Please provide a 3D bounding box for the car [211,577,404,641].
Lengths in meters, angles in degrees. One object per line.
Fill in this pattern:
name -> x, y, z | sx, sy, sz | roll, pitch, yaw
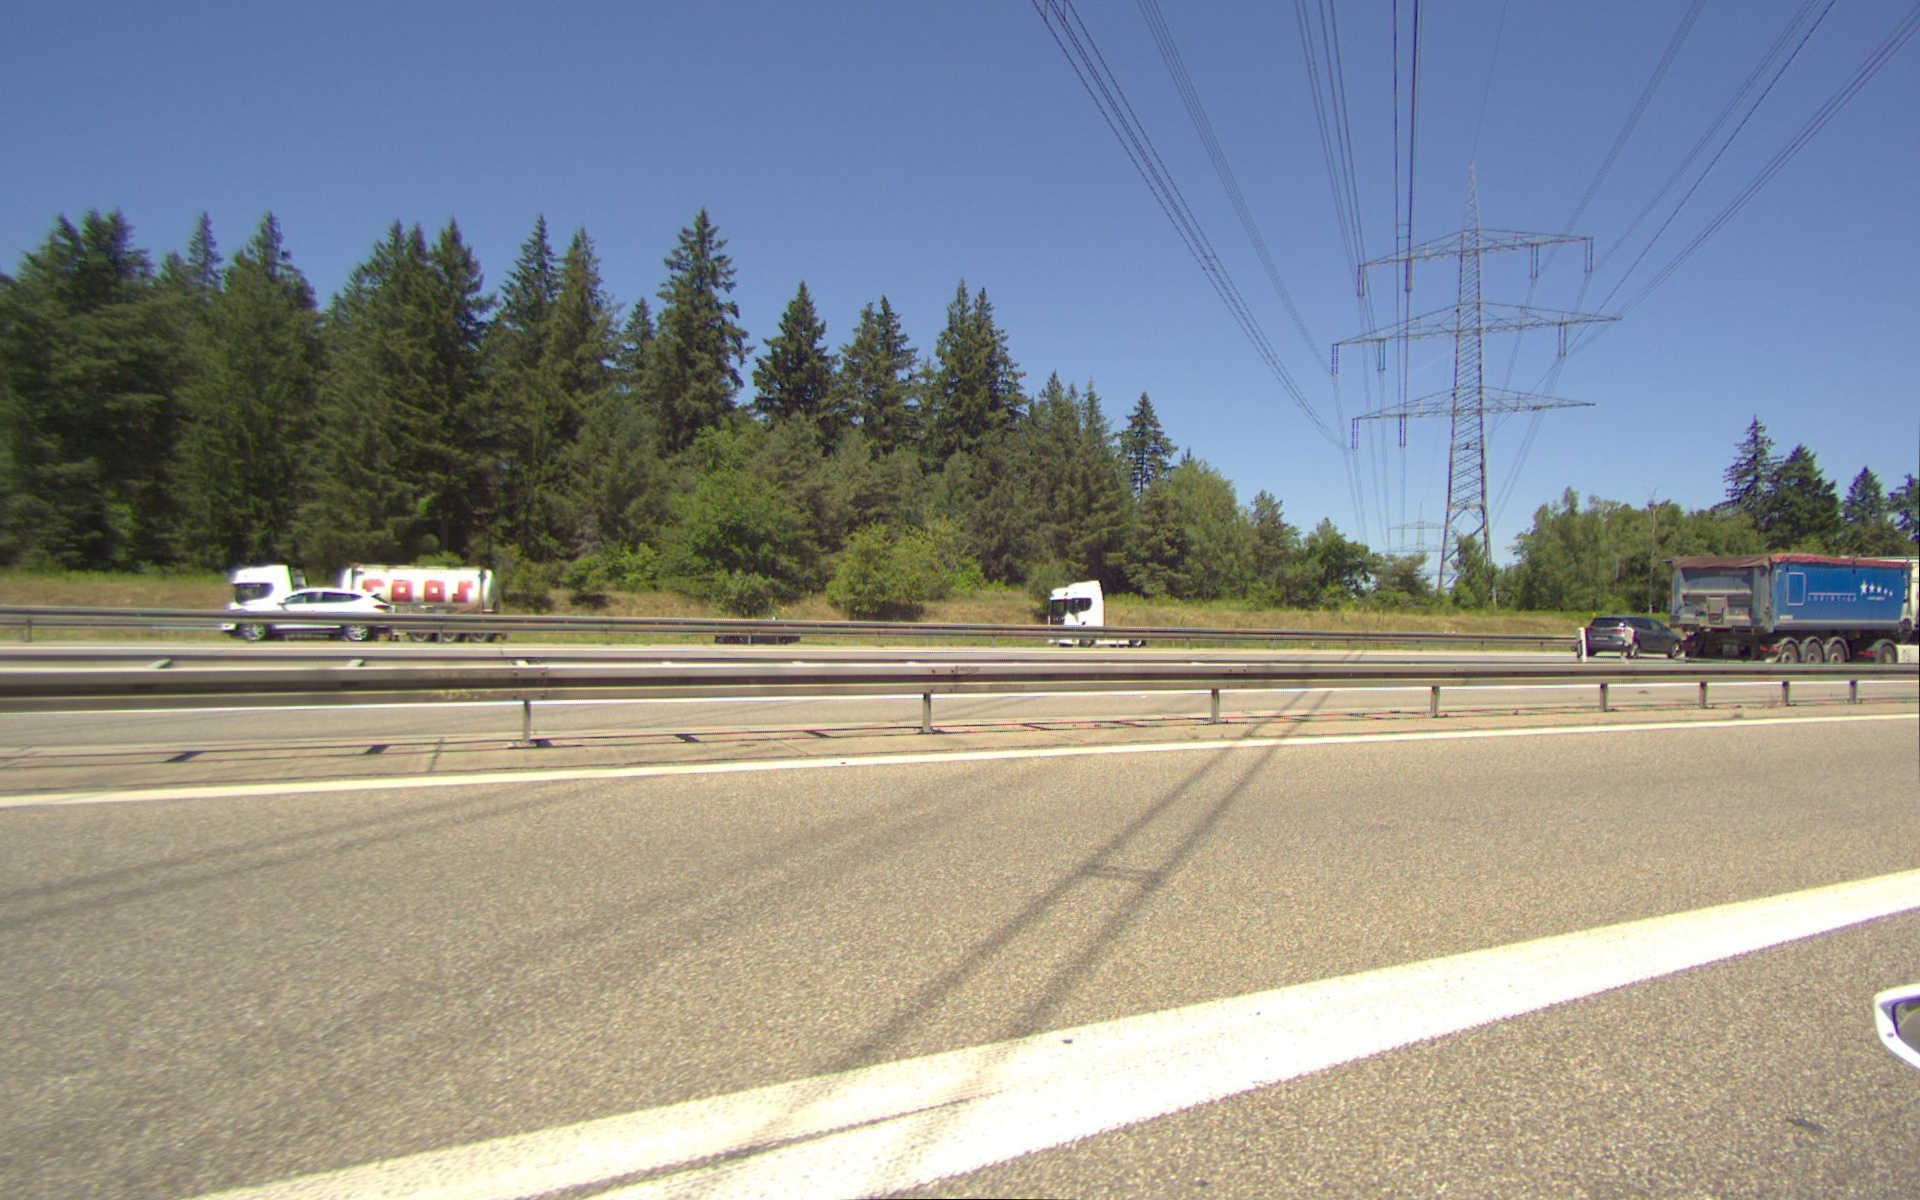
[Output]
car -> -20.112, 0.295, 31.225 | 4.763, 1.706, 1.765 | 3, -1, -27

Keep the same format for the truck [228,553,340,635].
truck -> -33.117, -0.253, 49.360 | 3.939, 3.848, 2.764 | 1, 0, -20

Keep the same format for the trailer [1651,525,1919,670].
trailer -> 25.004, 0.068, 30.058 | 9.756, 3.858, 2.761 | 2, 0, -27

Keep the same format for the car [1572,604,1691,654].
car -> 26.633, 1.156, 39.814 | 4.763, 1.706, 1.765 | 3, -1, -27

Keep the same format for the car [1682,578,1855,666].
car -> 29.994, 0.849, 37.218 | 6.962, 2.870, 2.231 | 3, -1, -26

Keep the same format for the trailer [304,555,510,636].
trailer -> -27.928, -0.176, 51.267 | 8.801, 3.849, 2.768 | 1, 0, -20

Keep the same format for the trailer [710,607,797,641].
trailer -> -11.745, 1.388, 57.204 | 4.533, 1.843, 1.989 | 2, -1, -23

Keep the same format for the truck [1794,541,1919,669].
truck -> 29.830, 0.208, 32.495 | 4.561, 3.858, 2.747 | 2, 0, -26

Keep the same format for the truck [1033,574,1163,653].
truck -> 8.505, 0.897, 61.825 | 7.429, 4.402, 2.852 | 3, -1, -25
